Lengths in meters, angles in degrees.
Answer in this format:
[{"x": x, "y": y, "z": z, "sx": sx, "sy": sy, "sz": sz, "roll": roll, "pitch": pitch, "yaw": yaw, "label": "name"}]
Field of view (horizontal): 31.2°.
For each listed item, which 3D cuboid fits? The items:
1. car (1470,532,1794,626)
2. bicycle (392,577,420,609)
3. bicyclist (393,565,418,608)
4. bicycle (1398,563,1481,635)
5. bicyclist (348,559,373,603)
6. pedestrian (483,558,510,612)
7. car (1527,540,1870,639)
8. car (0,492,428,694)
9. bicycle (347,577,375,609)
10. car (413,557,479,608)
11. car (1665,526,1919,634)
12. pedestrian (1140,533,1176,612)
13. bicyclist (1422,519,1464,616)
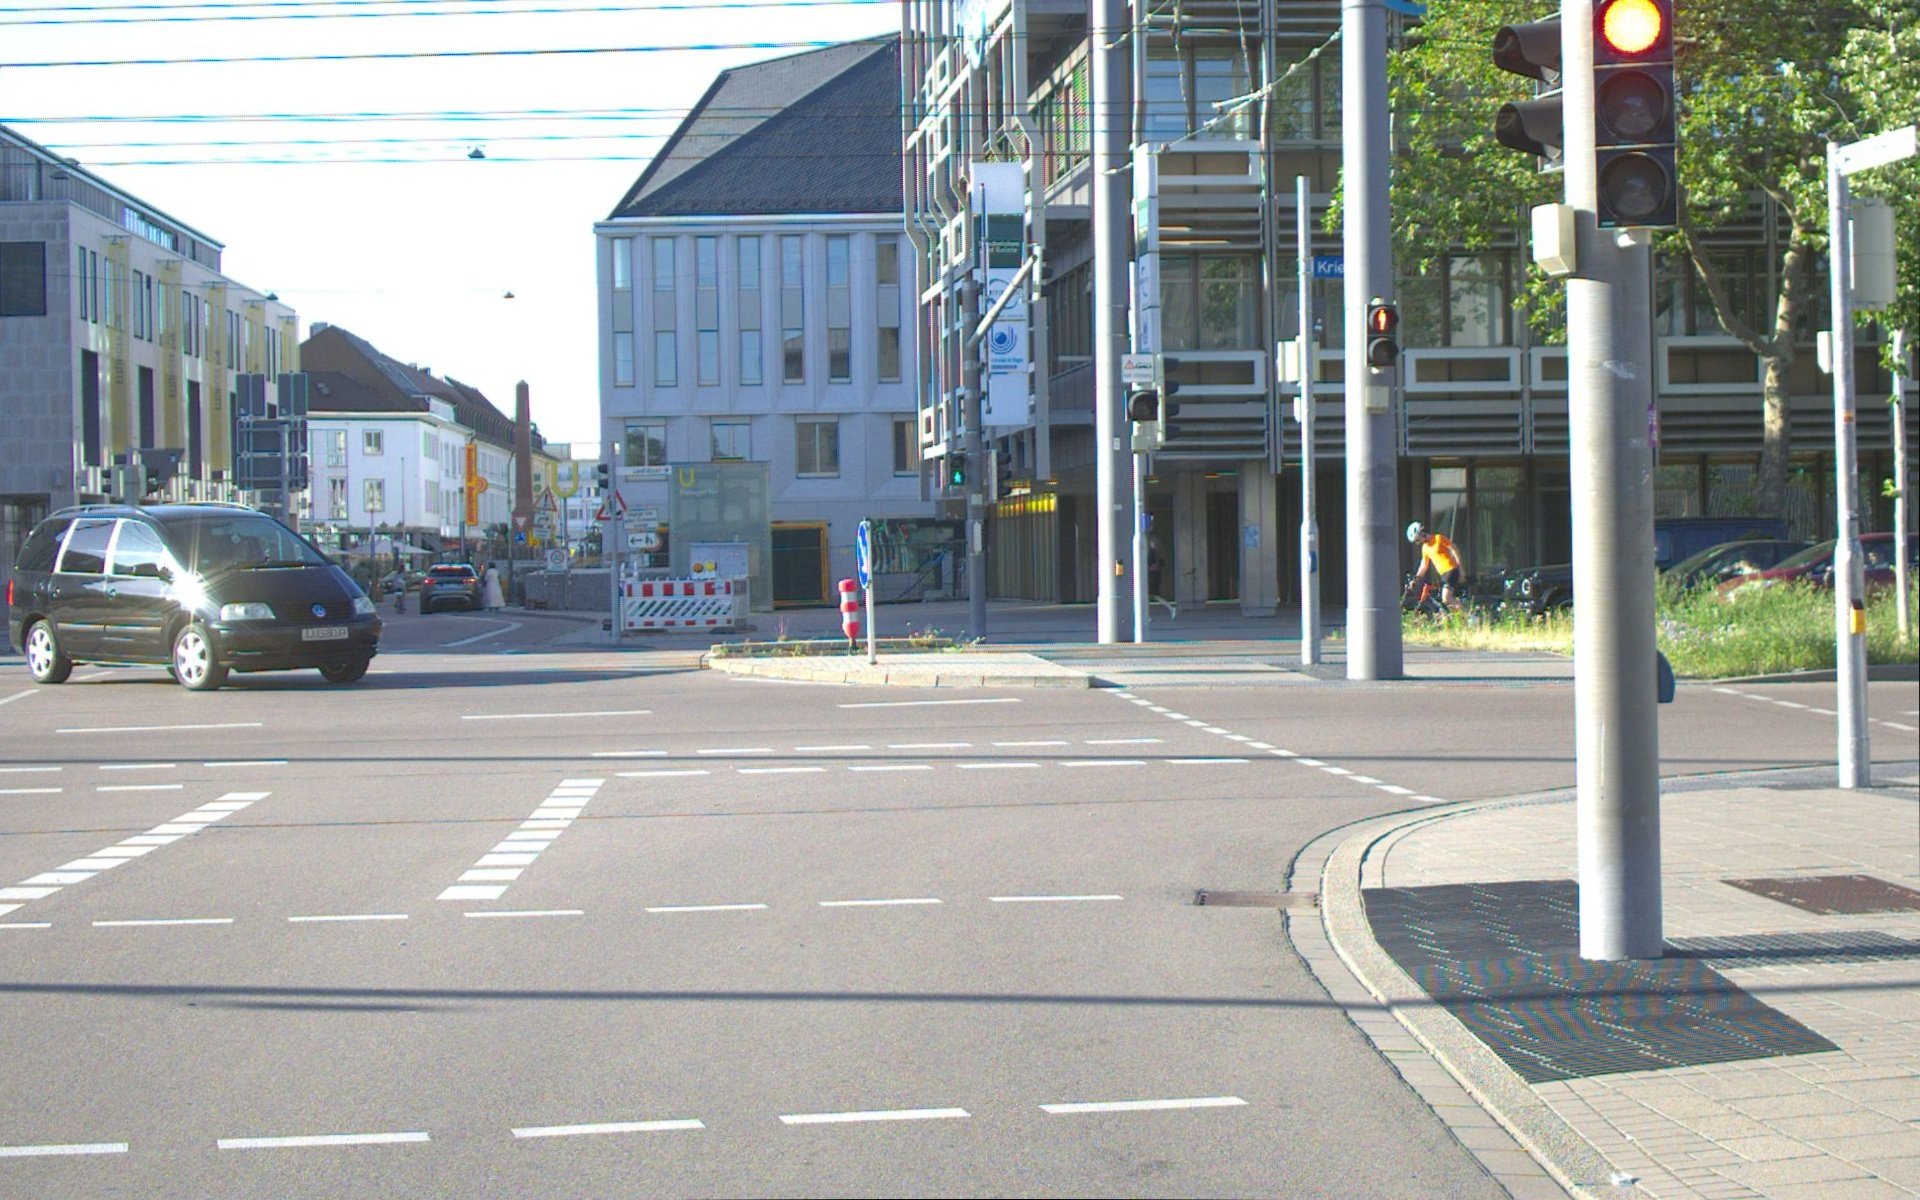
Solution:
[{"x": 10.564, "y": -0.349, "z": 54.230, "sx": 4.630, "sy": 1.351, "sz": 2.001, "roll": -1, "pitch": 2, "yaw": -5, "label": "car"}, {"x": -18.960, "y": -0.239, "z": 117.757, "sx": 0.741, "sy": 1.042, "sz": 2.432, "roll": -1, "pitch": 1, "yaw": -5, "label": "bicycle"}, {"x": -19.020, "y": -0.471, "z": 117.959, "sx": 0.746, "sy": 1.456, "sz": 0.767, "roll": -1, "pitch": 1, "yaw": -4, "label": "bicyclist"}, {"x": 6.621, "y": -0.012, "z": 47.492, "sx": 1.076, "sy": 0.967, "sz": 0.458, "roll": -1, "pitch": 1, "yaw": 1, "label": "bicycle"}, {"x": -20.456, "y": -0.649, "z": 117.326, "sx": 0.746, "sy": 1.456, "sz": 0.767, "roll": -1, "pitch": 1, "yaw": -4, "label": "bicyclist"}, {"x": -14.678, "y": -0.475, "z": 108.863, "sx": 0.714, "sy": 1.662, "sz": 0.987, "roll": -1, "pitch": 1, "yaw": -2, "label": "pedestrian"}, {"x": 11.006, "y": -0.177, "z": 51.423, "sx": 4.630, "sy": 1.351, "sz": 2.001, "roll": -1, "pitch": 2, "yaw": -5, "label": "car"}, {"x": -7.202, "y": -0.136, "z": 32.773, "sx": 1.994, "sy": 1.736, "sz": 4.644, "roll": -3, "pitch": 3, "yaw": -41, "label": "car"}, {"x": -20.448, "y": -0.236, "z": 117.378, "sx": 0.741, "sy": 1.042, "sz": 2.432, "roll": -1, "pitch": 1, "yaw": -5, "label": "bicycle"}, {"x": -16.198, "y": -0.564, "z": 108.523, "sx": 1.993, "sy": 1.546, "sz": 4.001, "roll": -1, "pitch": 1, "yaw": -8, "label": "car"}, {"x": 12.117, "y": -0.289, "z": 46.616, "sx": 4.630, "sy": 1.351, "sz": 2.001, "roll": -1, "pitch": 2, "yaw": -5, "label": "car"}, {"x": 3.847, "y": -0.544, "z": 66.800, "sx": 0.623, "sy": 1.513, "sz": 0.653, "roll": -1, "pitch": 1, "yaw": 7, "label": "pedestrian"}, {"x": 6.669, "y": -0.448, "z": 47.489, "sx": 0.508, "sy": 1.333, "sz": 0.452, "roll": -1, "pitch": 1, "yaw": 1, "label": "bicyclist"}]
